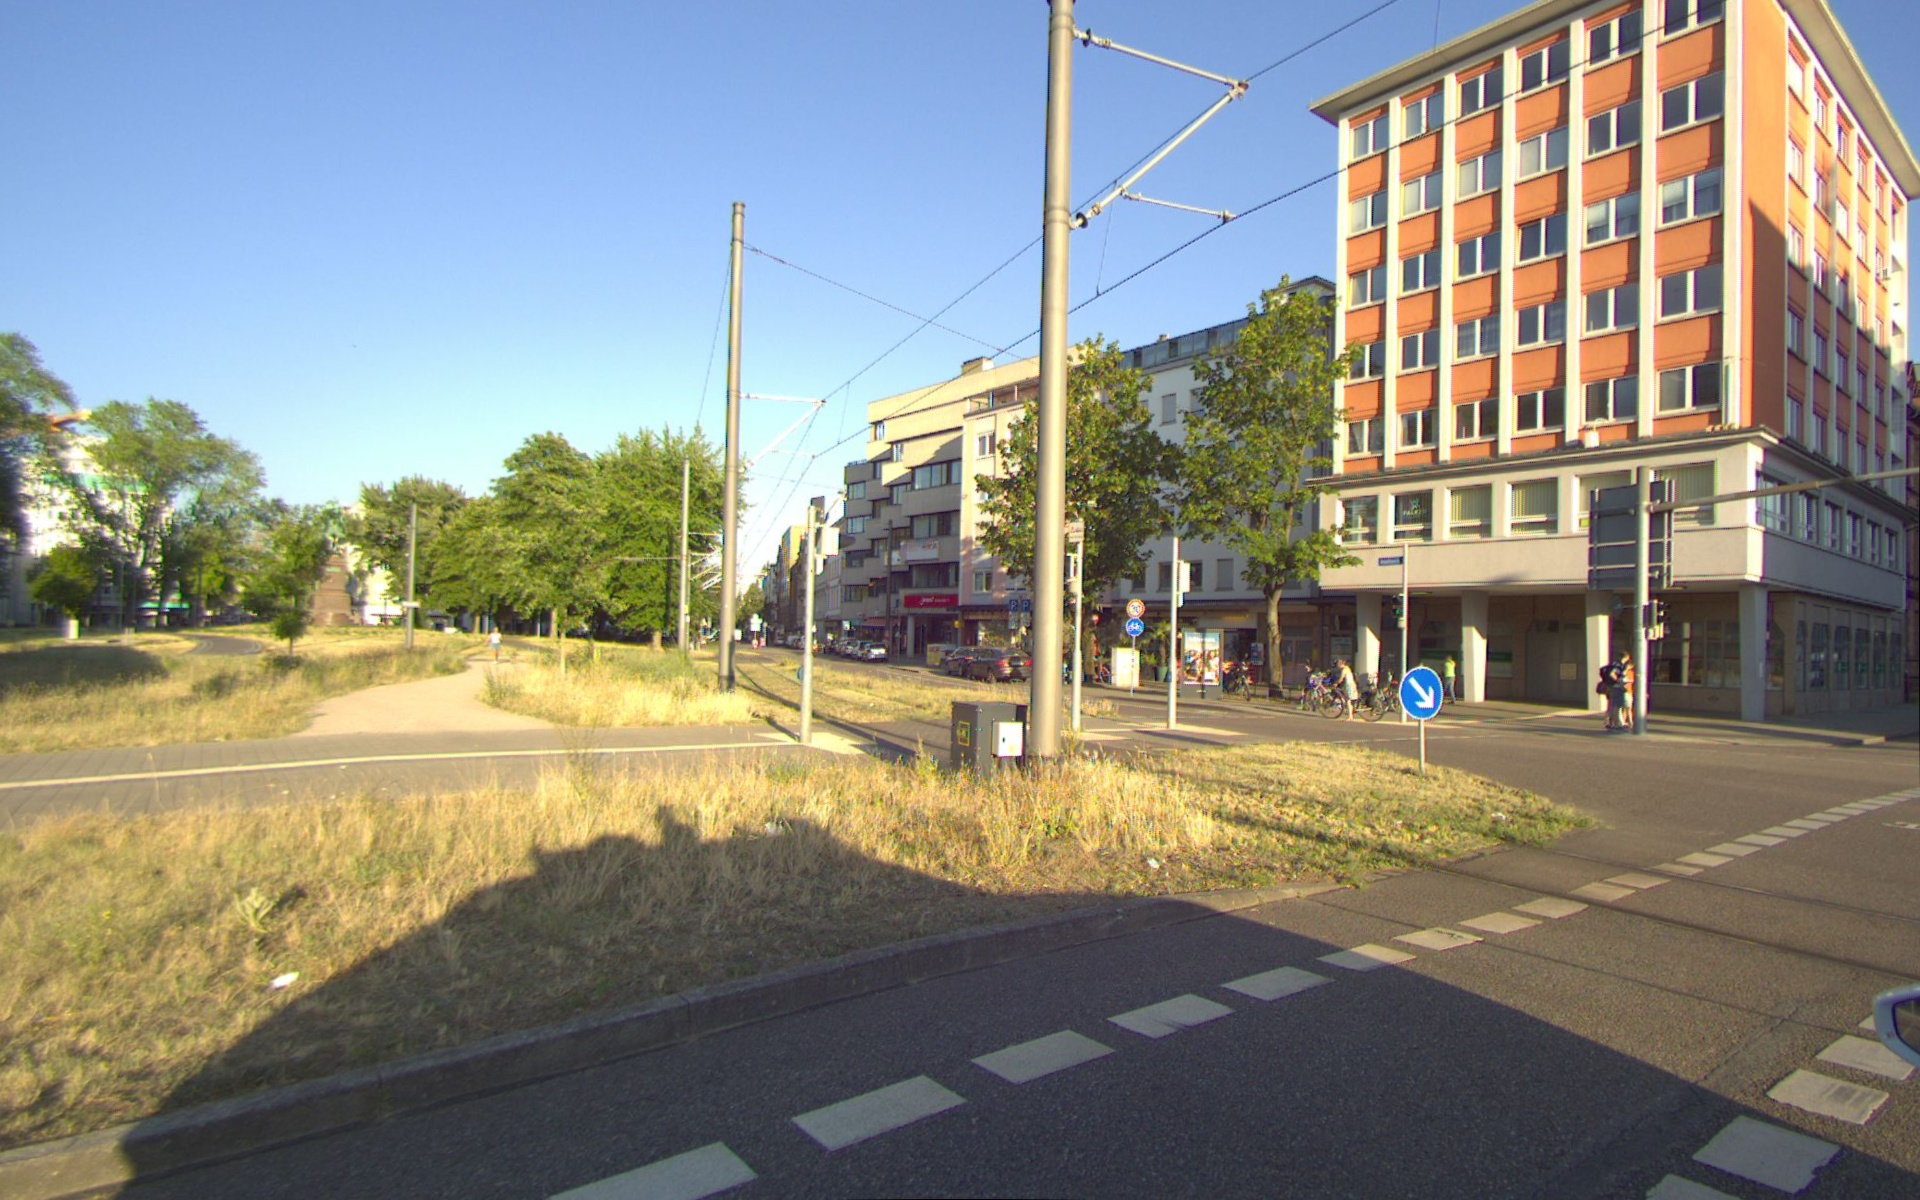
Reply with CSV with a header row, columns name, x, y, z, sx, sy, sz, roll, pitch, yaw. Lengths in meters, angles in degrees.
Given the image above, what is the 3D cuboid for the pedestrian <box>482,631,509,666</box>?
name,x,y,z,sx,sy,sz,roll,pitch,yaw
pedestrian,-20.161,2.098,43.614,0.901,1.515,0.693,0,-2,37

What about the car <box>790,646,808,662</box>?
name,x,y,z,sx,sy,sz,roll,pitch,yaw
car,-20.168,6.738,125.703,1.966,1.902,3.894,2,-2,-13

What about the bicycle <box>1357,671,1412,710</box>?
name,x,y,z,sx,sy,sz,roll,pitch,yaw
bicycle,12.863,2.742,30.467,0.392,1.089,1.543,3,-3,-39

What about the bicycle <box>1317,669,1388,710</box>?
name,x,y,z,sx,sy,sz,roll,pitch,yaw
bicycle,11.573,2.622,29.684,0.465,1.089,1.973,3,-3,-39

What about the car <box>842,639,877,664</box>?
name,x,y,z,sx,sy,sz,roll,pitch,yaw
car,-7.990,4.043,79.846,1.968,1.886,3.985,2,-2,-18

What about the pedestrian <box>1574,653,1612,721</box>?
name,x,y,z,sx,sy,sz,roll,pitch,yaw
pedestrian,16.488,2.256,26.168,0.581,1.707,0.721,3,-3,-41

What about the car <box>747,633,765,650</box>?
name,x,y,z,sx,sy,sz,roll,pitch,yaw
car,-25.250,5.128,124.676,1.963,2.040,3.994,0,-1,-9

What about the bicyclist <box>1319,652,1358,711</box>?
name,x,y,z,sx,sy,sz,roll,pitch,yaw
bicyclist,9.616,2.052,25.517,0.843,1.445,0.499,0,-2,36

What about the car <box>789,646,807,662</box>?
name,x,y,z,sx,sy,sz,roll,pitch,yaw
car,-21.173,7.060,131.277,1.966,2.040,3.990,2,-2,-13

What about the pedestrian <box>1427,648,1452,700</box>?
name,x,y,z,sx,sy,sz,roll,pitch,yaw
pedestrian,17.189,2.633,36.011,0.581,1.815,0.633,3,-3,-41

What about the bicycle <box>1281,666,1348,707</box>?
name,x,y,z,sx,sy,sz,roll,pitch,yaw
bicycle,10.267,2.496,29.153,0.465,1.089,1.885,3,-3,-39

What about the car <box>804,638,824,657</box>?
name,x,y,z,sx,sy,sz,roll,pitch,yaw
car,-16.304,5.277,111.962,1.965,2.006,3.992,2,-2,-12

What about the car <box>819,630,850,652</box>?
name,x,y,z,sx,sy,sz,roll,pitch,yaw
car,-11.392,3.722,90.816,1.969,1.925,3.983,2,-2,-19

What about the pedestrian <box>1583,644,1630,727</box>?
name,x,y,z,sx,sy,sz,roll,pitch,yaw
pedestrian,15.806,2.065,24.566,0.709,1.972,0.718,1,-2,5

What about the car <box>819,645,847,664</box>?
name,x,y,z,sx,sy,sz,roll,pitch,yaw
car,-12.519,5.341,98.822,1.968,1.733,3.985,2,-2,-18

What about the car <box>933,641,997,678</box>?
name,x,y,z,sx,sy,sz,roll,pitch,yaw
car,0.209,2.950,50.553,1.969,1.724,3.983,2,-2,-19

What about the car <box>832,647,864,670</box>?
name,x,y,z,sx,sy,sz,roll,pitch,yaw
car,-9.571,4.944,85.475,1.969,1.863,3.985,2,-2,-18

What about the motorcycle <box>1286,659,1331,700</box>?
name,x,y,z,sx,sy,sz,roll,pitch,yaw
motorcycle,11.842,2.681,34.114,1.819,1.335,0.539,3,-3,-38

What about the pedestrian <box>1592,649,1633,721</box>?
name,x,y,z,sx,sy,sz,roll,pitch,yaw
pedestrian,17.203,2.222,26.487,0.745,1.842,0.706,3,-2,-39

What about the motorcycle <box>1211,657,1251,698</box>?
name,x,y,z,sx,sy,sz,roll,pitch,yaw
motorcycle,9.256,2.632,34.391,0.378,1.335,1.375,3,-3,-37

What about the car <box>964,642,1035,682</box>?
name,x,y,z,sx,sy,sz,roll,pitch,yaw
car,1.728,2.789,45.723,1.969,1.706,3.985,2,-2,-18

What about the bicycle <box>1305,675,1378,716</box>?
name,x,y,z,sx,sy,sz,roll,pitch,yaw
bicycle,9.660,2.408,25.467,1.641,0.956,0.508,0,-3,36

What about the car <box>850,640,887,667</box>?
name,x,y,z,sx,sy,sz,roll,pitch,yaw
car,-6.851,3.966,74.840,1.895,1.888,3.986,2,-2,-17
